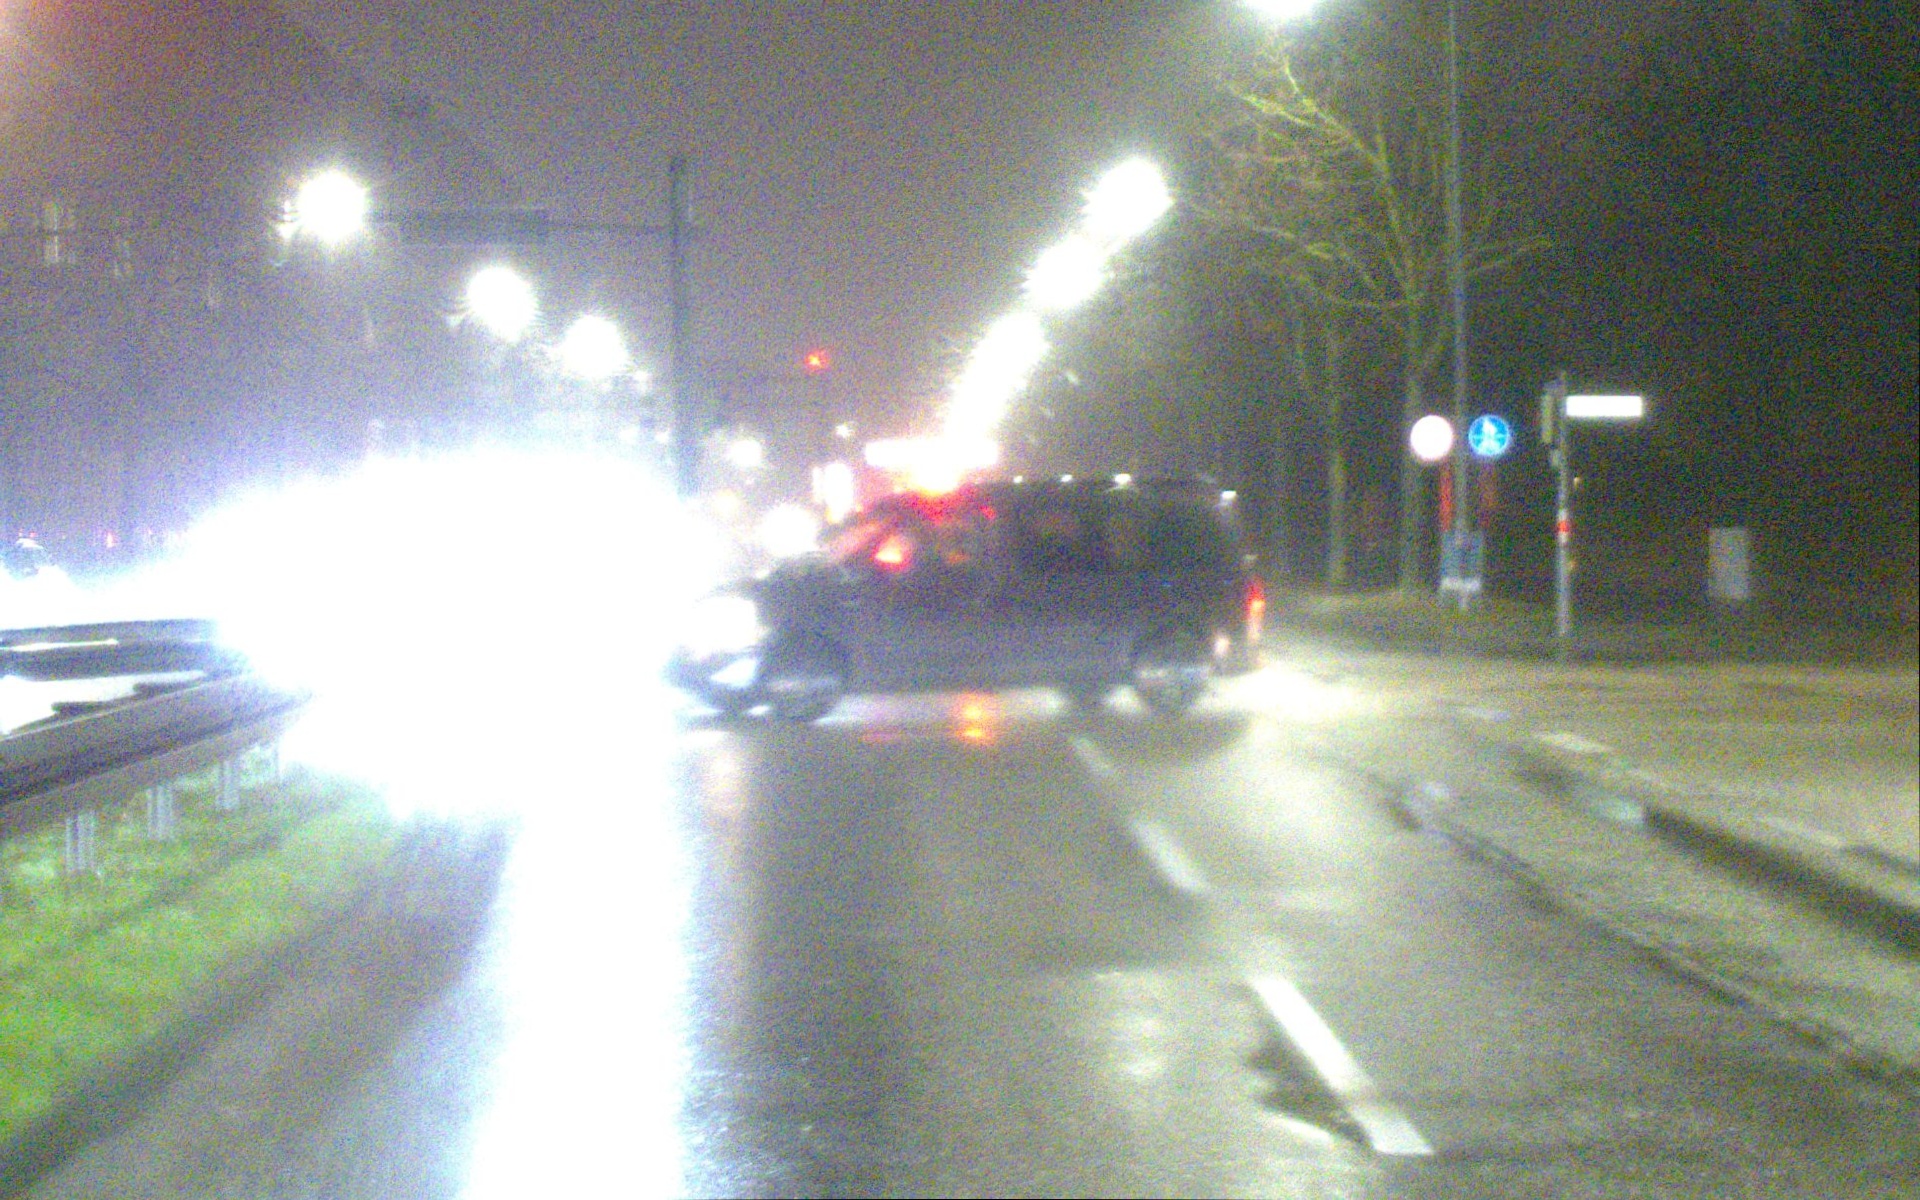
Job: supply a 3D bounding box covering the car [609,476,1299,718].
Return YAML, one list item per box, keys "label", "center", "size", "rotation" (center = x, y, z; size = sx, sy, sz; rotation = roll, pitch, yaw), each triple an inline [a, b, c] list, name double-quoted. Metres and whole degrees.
- label: "car"
  center: [-0.057, -0.009, 26.415]
  size: [4.901, 1.735, 1.972]
  rotation: [1, 1, -20]

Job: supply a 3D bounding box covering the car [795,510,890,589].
- label: "car"
  center: [-2.607, -1.117, 77.272]
  size: [1.993, 1.700, 4.633]
  rotation: [1, 1, -1]
